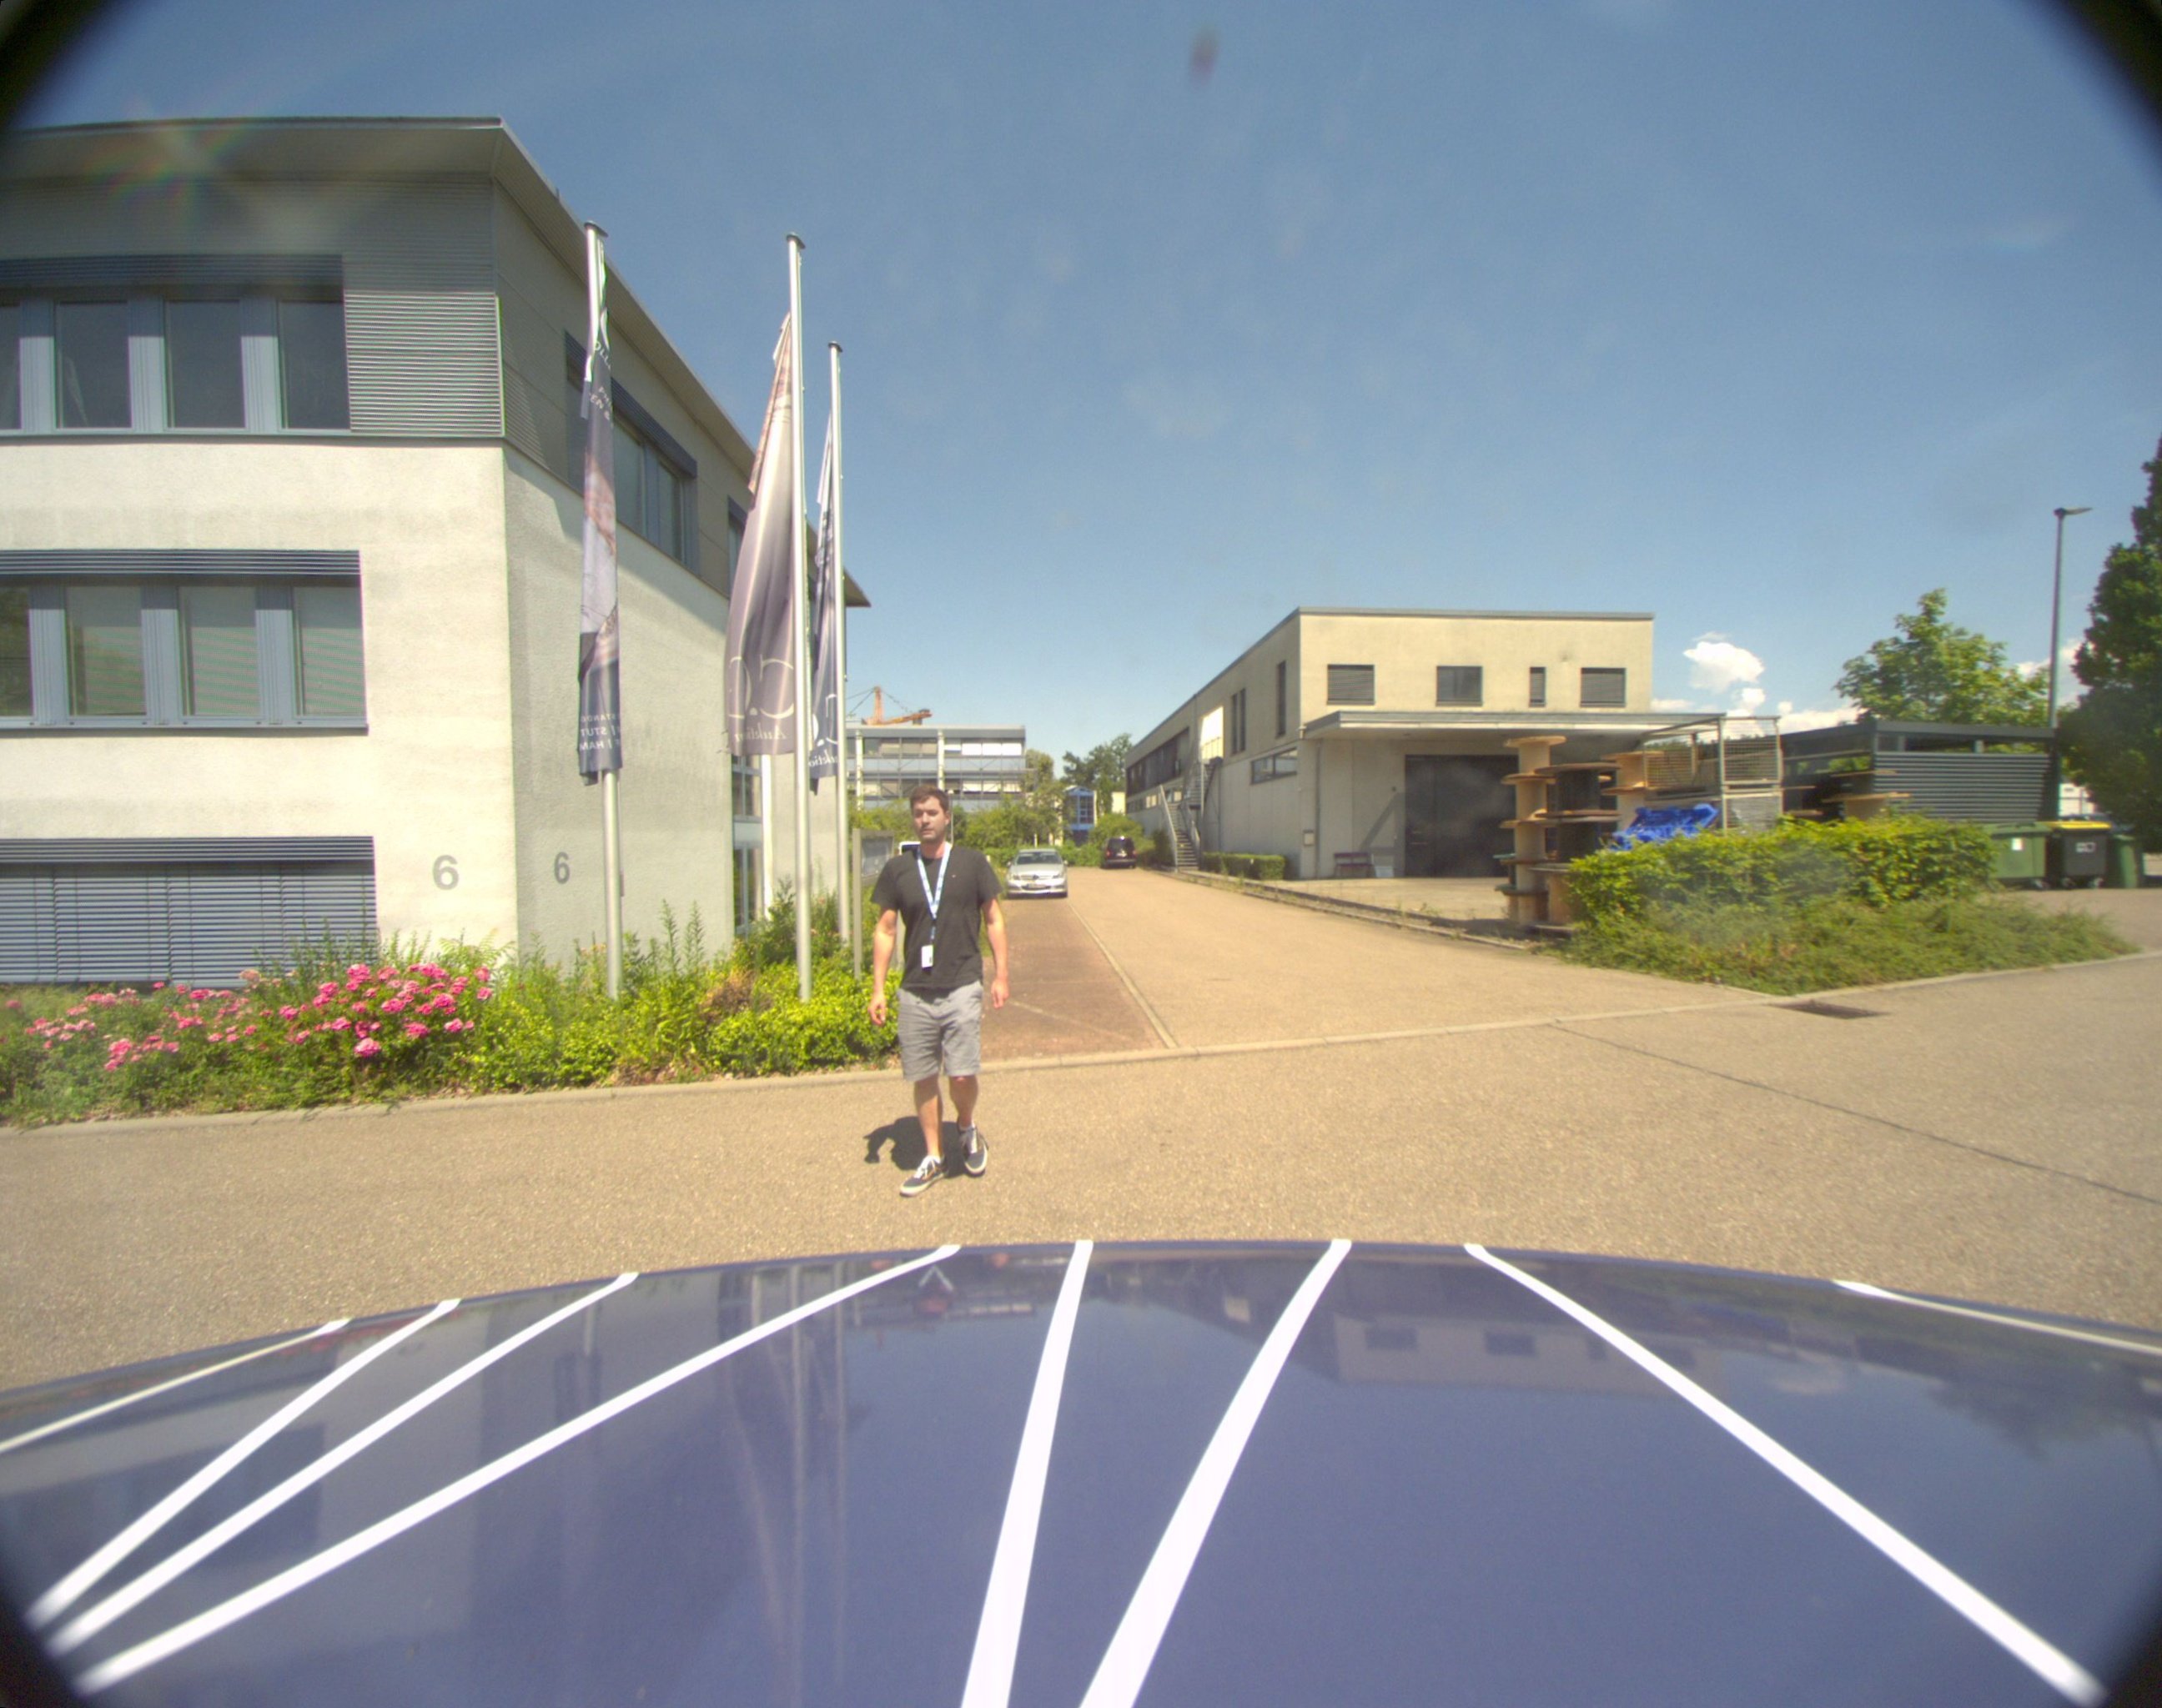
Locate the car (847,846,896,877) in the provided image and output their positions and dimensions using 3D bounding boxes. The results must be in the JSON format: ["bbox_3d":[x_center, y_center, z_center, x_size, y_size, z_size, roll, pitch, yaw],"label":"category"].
[{"bbox_3d":[-11.711,0.406,42.712,1.788,1.537,3.997,-2,2,-4],"label":"car"}]

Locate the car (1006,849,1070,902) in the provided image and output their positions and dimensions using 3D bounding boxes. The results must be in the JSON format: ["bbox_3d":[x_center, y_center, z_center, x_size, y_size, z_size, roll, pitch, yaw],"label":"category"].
[{"bbox_3d":[-1.223,0.583,23.089,1.711,1.383,3.810,-1,1,0],"label":"car"}]

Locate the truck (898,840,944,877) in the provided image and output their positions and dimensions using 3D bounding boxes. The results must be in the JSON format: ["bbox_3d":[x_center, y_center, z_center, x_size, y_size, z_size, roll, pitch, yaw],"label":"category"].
[{"bbox_3d":[-8.834,0.202,42.234,1.999,1.883,3.997,-2,1,-5],"label":"truck"}]

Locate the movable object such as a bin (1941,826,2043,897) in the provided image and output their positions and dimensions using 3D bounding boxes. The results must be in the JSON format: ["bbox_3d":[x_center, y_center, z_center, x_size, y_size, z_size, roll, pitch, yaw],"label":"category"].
[{"bbox_3d":[17.709,0.136,14.797,1.072,1.329,0.760,-2,2,1],"label":"movable object such as a bin"}]

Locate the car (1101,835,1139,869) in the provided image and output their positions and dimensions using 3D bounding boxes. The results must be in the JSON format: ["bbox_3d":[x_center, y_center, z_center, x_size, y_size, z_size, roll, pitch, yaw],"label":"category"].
[{"bbox_3d":[2.224,-0.138,43.896,1.788,1.794,3.998,-2,2,-2],"label":"car"}]

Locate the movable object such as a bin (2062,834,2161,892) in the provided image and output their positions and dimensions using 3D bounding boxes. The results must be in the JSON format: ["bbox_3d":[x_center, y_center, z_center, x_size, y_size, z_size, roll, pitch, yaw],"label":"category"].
[{"bbox_3d":[20.167,0.166,14.853,0.987,1.078,0.760,-2,2,1],"label":"movable object such as a bin"}]

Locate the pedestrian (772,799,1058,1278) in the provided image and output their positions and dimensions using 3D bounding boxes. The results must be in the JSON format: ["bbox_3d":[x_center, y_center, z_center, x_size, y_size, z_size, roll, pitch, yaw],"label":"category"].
[{"bbox_3d":[-0.674,0.700,3.390,0.859,1.810,0.905,-1,2,15],"label":"pedestrian"}]

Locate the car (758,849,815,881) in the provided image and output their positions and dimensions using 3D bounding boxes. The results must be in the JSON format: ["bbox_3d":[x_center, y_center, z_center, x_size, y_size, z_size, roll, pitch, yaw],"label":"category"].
[{"bbox_3d":[-16.376,0.568,42.446,1.788,1.537,3.997,-2,2,-4],"label":"car"}]

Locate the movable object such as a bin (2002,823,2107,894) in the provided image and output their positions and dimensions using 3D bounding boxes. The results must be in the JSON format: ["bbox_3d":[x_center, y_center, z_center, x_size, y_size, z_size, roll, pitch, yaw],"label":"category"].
[{"bbox_3d":[19.057,0.076,14.893,1.072,1.329,0.760,-2,2,1],"label":"movable object such as a bin"}]

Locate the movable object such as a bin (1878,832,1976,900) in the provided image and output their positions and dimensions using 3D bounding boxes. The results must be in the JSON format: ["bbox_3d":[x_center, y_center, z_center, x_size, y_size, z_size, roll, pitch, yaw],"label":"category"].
[{"bbox_3d":[16.544,0.213,14.878,1.072,1.264,0.760,-2,2,1],"label":"movable object such as a bin"}]
